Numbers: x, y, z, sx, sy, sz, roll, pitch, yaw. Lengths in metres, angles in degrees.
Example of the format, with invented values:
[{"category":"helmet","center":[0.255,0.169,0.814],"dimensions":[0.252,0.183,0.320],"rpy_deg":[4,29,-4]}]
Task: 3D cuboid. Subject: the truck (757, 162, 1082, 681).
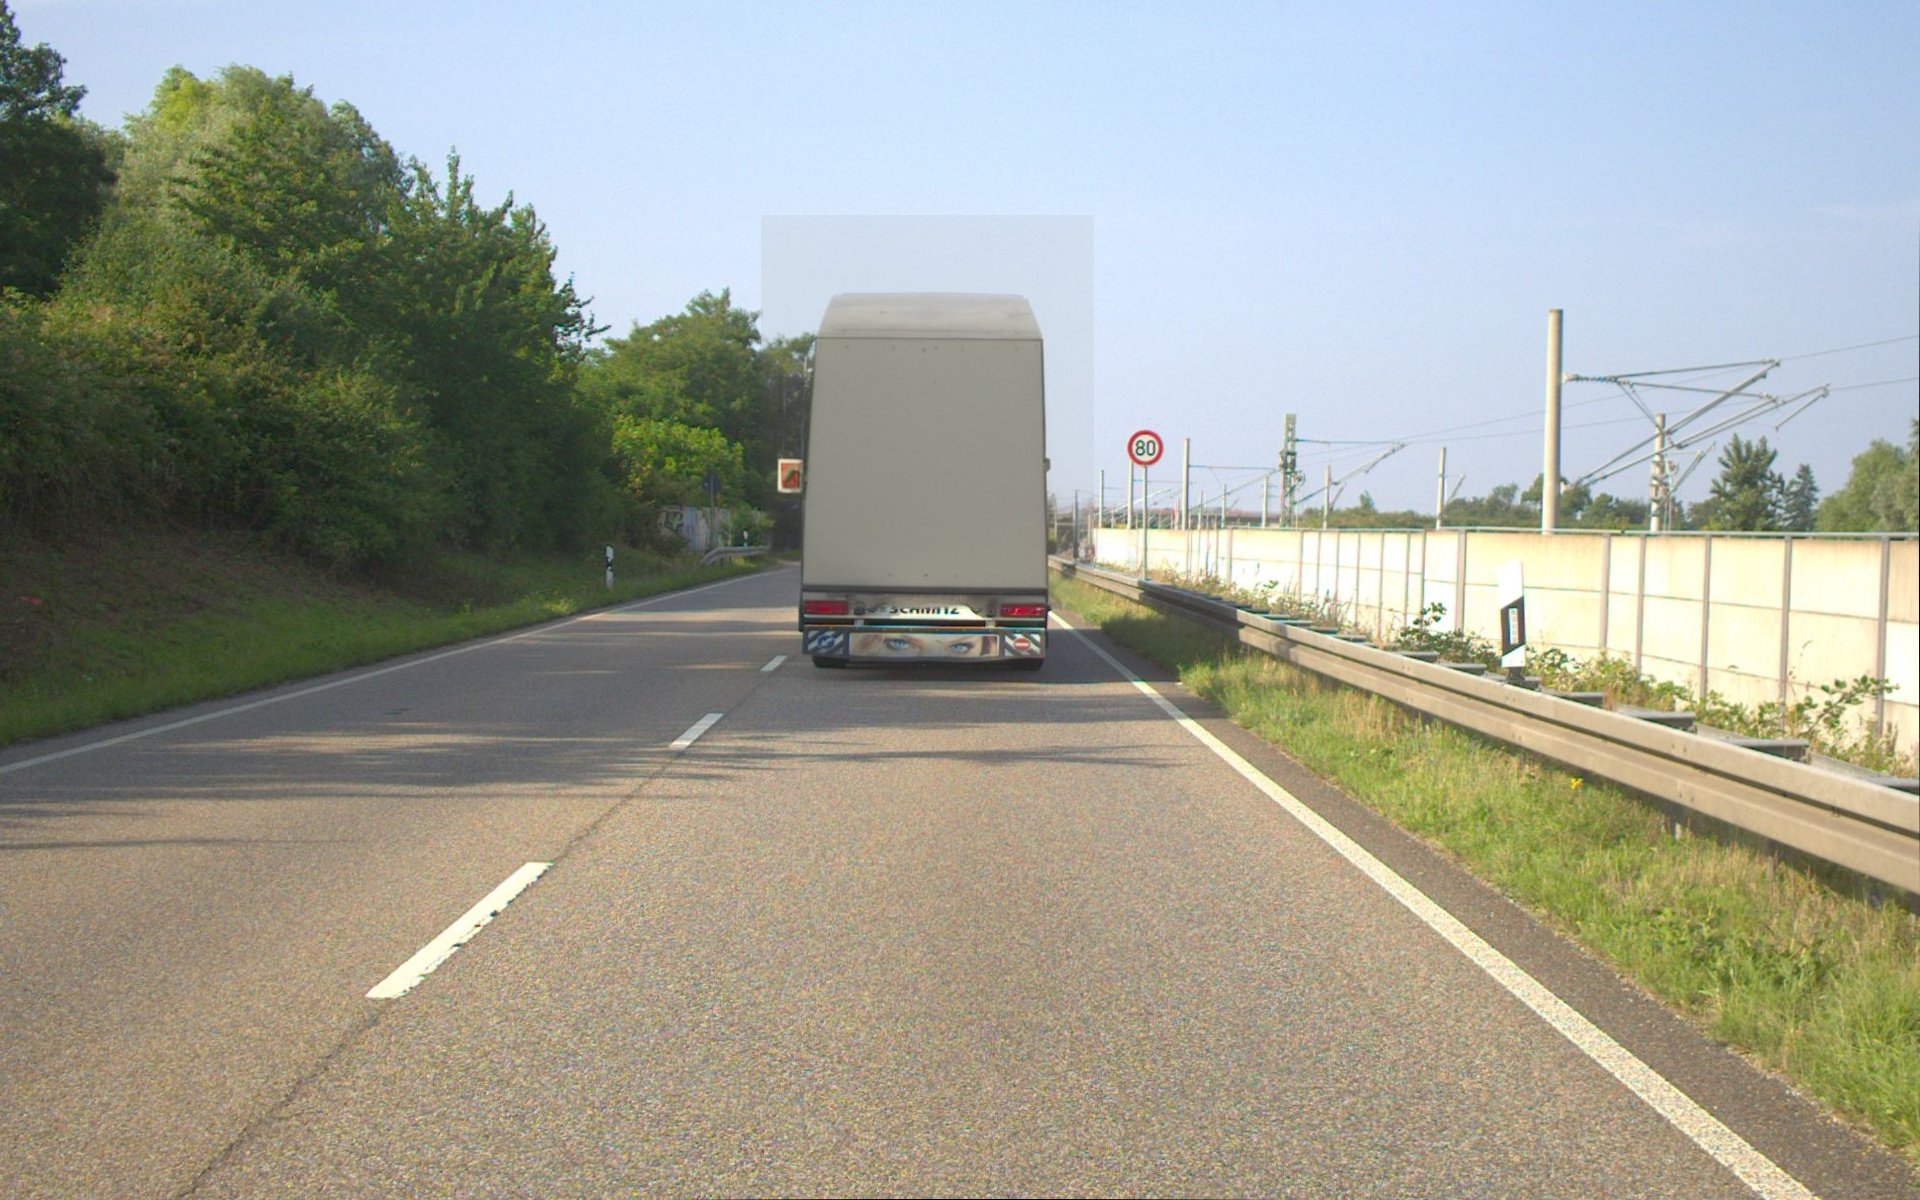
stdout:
[{"category":"truck","center":[-0.542,-1.837,38.606],"dimensions":[3.033,4.903,11.685],"rpy_deg":[1,1,-2]}]
